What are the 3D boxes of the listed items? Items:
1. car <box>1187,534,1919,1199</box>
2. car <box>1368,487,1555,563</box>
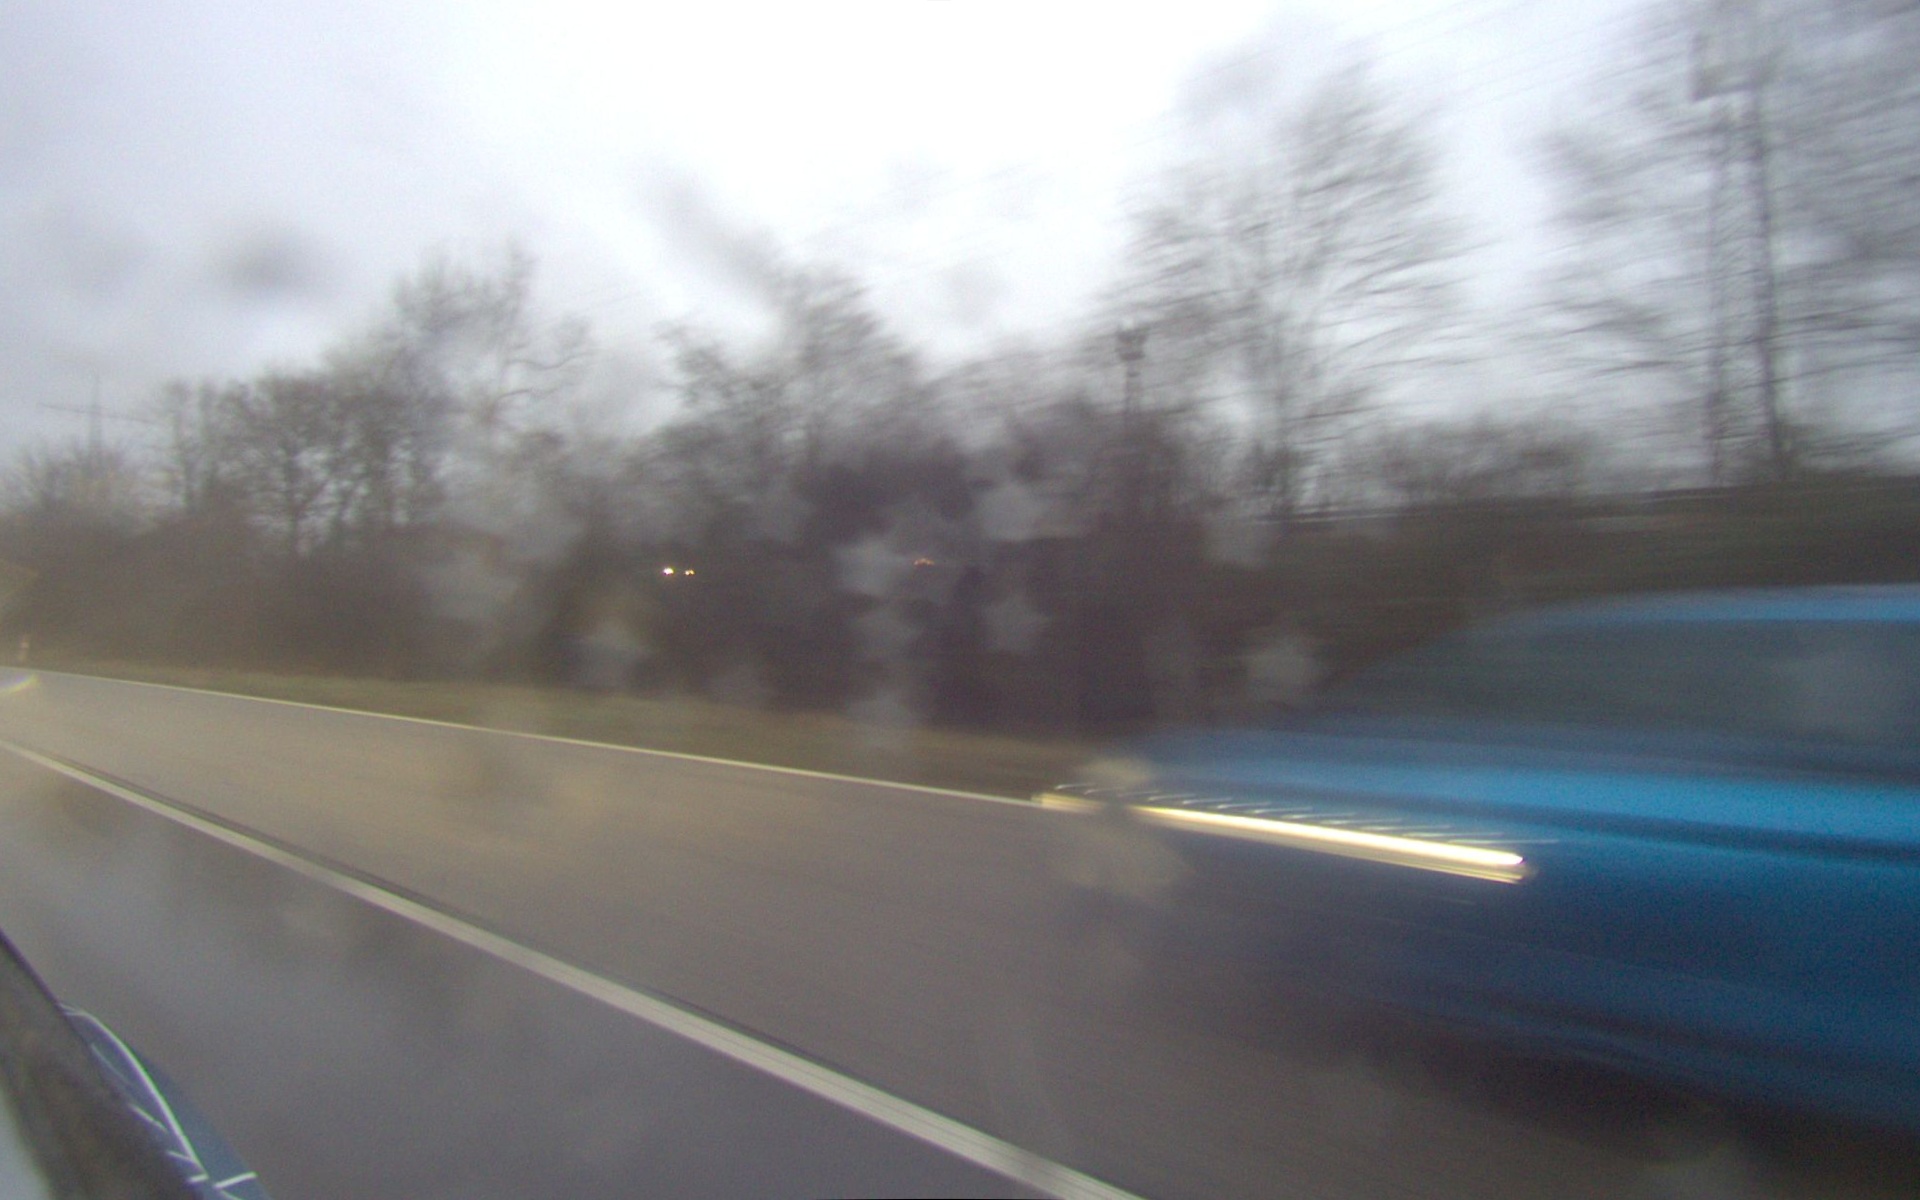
[{"bbox_3d":[2.877,0.592,2.640,4.098,1.508,1.747,-2,-1,39],"label":"car"},{"bbox_3d":[12.476,-1.805,25.267,3.935,1.646,1.769,-1,1,36],"label":"car"}]
